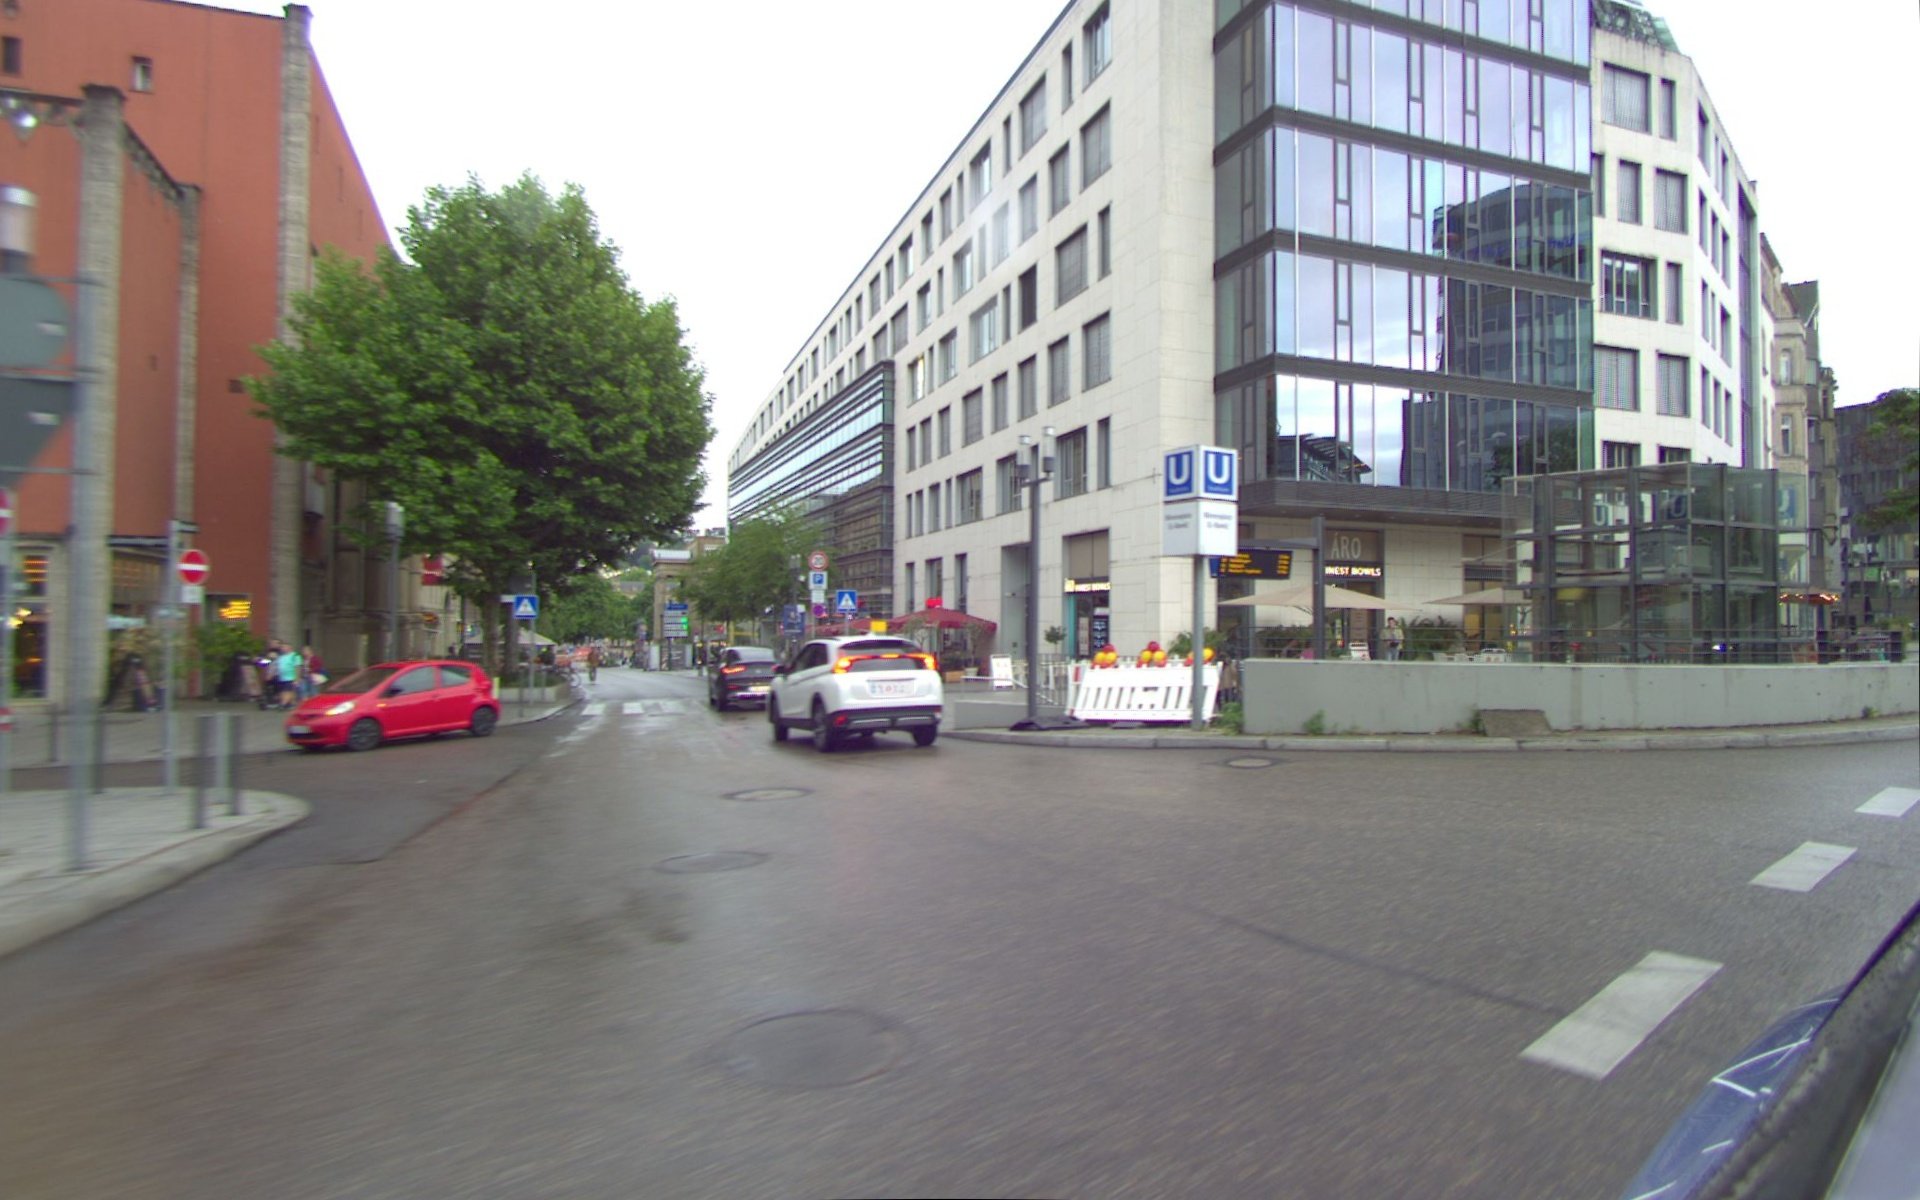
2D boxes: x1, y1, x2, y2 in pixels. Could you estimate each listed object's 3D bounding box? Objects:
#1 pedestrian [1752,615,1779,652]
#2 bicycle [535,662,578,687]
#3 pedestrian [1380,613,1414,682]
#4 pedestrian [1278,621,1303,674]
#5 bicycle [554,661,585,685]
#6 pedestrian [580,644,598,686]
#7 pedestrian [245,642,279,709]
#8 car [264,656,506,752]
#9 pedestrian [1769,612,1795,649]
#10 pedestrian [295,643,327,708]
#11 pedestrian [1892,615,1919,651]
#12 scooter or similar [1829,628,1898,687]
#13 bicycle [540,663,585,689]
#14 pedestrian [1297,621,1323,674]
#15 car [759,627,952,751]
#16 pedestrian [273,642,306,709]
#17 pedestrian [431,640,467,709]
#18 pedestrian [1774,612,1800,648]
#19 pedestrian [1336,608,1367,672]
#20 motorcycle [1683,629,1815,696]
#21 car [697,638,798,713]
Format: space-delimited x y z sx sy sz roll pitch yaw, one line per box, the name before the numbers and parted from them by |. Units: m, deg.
pedestrian | 29.816 1.234 37.465 0.625 1.344 0.627 1 -4 -43
bicycle | -17.345 3.201 43.484 1.719 0.997 0.523 -1 -2 -23
pedestrian | 12.431 1.326 28.795 0.629 1.918 0.587 -1 0 -20
pedestrian | 9.118 1.293 27.933 0.468 1.421 0.437 -1 0 -21
bicycle | -17.064 3.191 44.235 1.258 0.997 0.459 -1 -2 -23
pedestrian | -18.486 3.241 50.391 0.761 2.040 0.782 0 -3 -25
pedestrian | -17.342 1.863 25.145 0.597 1.618 0.755 -1 -3 -28
car | -10.155 1.789 18.117 1.598 1.434 3.495 -3 -3 26
pedestrian | 31.018 1.159 38.187 0.625 1.344 0.627 1 -4 -43
pedestrian | -16.554 1.915 25.821 0.597 1.618 0.755 -1 -3 -28
pedestrian | 36.023 1.253 38.340 0.622 1.344 0.777 -1 -3 -24
scooter or similar | 20.228 1.282 22.665 1.089 1.288 0.474 -3 -3 43
bicycle | -16.669 3.193 42.418 1.719 0.997 0.523 -1 -2 -23
pedestrian | 9.524 1.286 27.539 0.468 1.421 0.437 -1 0 -21
car | -1.786 1.349 15.834 1.824 1.643 4.114 0 -4 -24
pedestrian | -16.323 1.836 24.652 0.598 1.580 0.755 -1 -3 -28
pedestrian | -13.952 2.020 27.632 0.793 1.832 0.610 0 -3 -35
pedestrian | 31.665 1.142 38.742 0.625 1.344 0.627 1 -4 -43
pedestrian | 11.944 1.199 30.868 0.574 1.918 0.643 -1 0 -24
motorcycle | 14.528 1.127 18.678 0.596 1.173 1.781 0 -2 -37
car | -5.623 1.865 26.334 1.962 1.713 4.758 0 -2 -19
